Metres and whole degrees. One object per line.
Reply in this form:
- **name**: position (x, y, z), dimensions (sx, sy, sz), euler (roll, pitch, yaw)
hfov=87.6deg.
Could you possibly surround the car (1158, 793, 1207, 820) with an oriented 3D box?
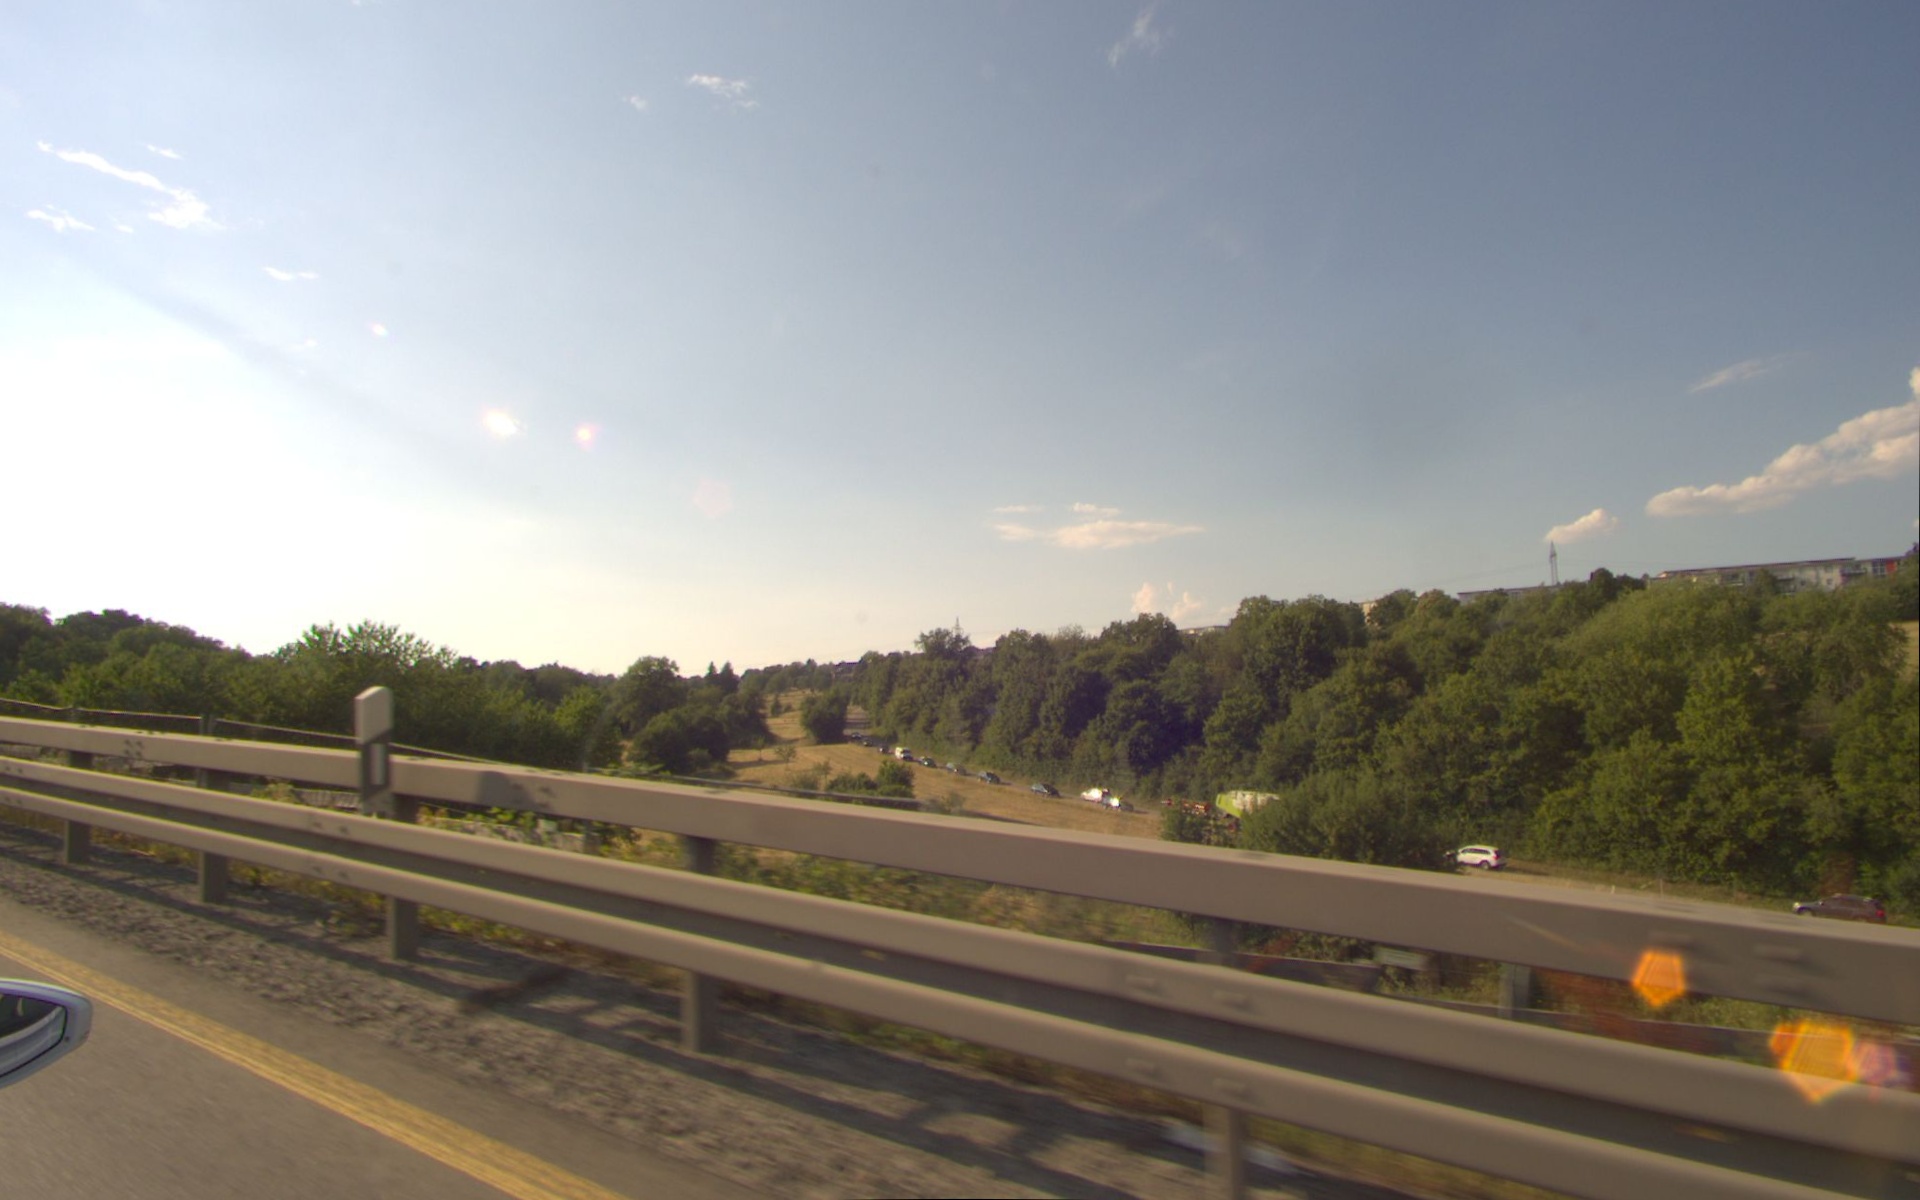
- **car**: position (22.391, 20.776, 100.812), dimensions (1.685, 1.858, 5.102), euler (1, -2, -32)

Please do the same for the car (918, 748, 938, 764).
- **car**: position (-5.043, 24.593, 157.925), dimensions (1.852, 2.039, 3.988), euler (0, -2, -24)
